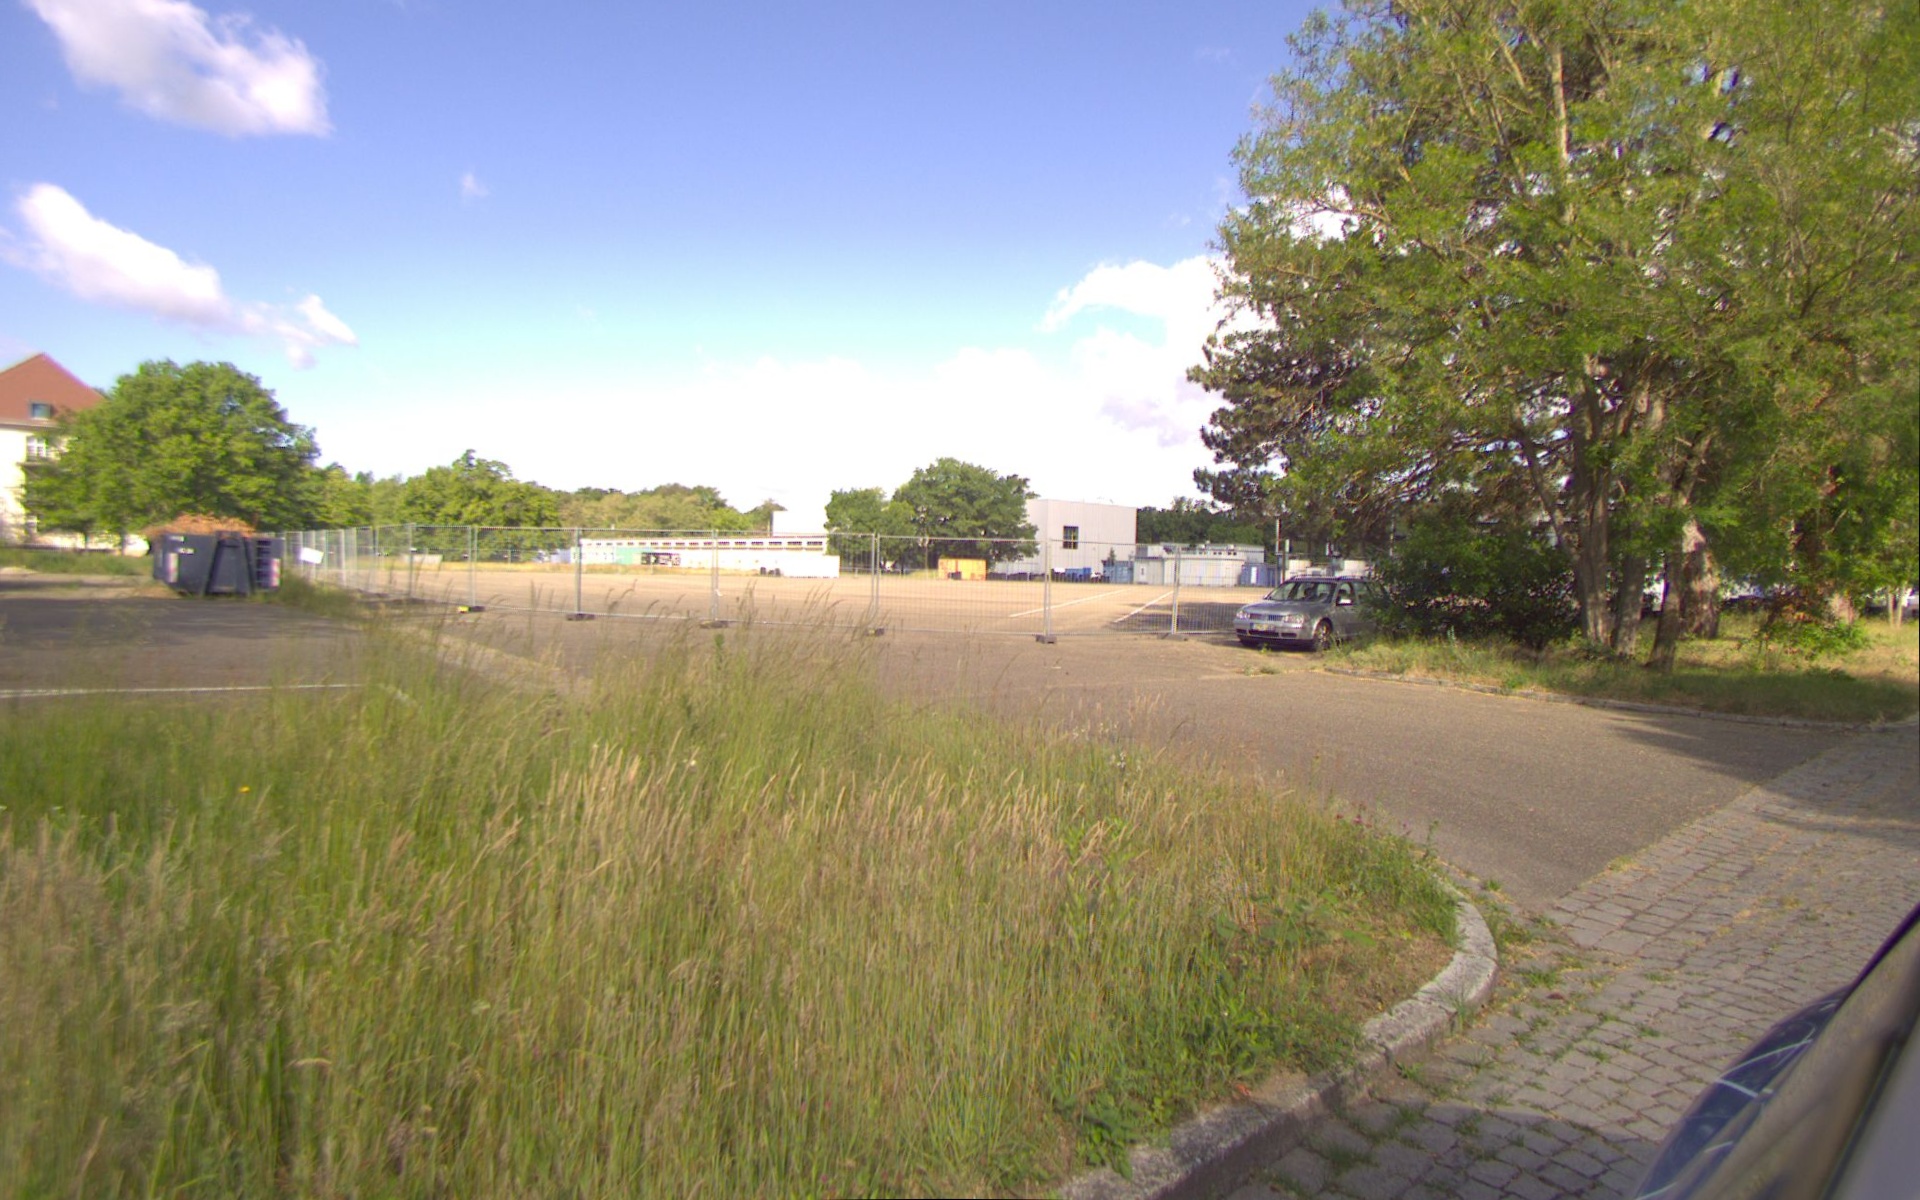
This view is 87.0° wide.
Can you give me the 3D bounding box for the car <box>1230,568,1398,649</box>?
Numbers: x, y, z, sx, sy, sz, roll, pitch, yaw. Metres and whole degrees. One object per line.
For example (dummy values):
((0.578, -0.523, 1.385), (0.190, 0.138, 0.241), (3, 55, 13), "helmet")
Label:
((7.221, 0.129, 20.469), (3.920, 1.461, 1.576), (0, 3, -44), "car")
